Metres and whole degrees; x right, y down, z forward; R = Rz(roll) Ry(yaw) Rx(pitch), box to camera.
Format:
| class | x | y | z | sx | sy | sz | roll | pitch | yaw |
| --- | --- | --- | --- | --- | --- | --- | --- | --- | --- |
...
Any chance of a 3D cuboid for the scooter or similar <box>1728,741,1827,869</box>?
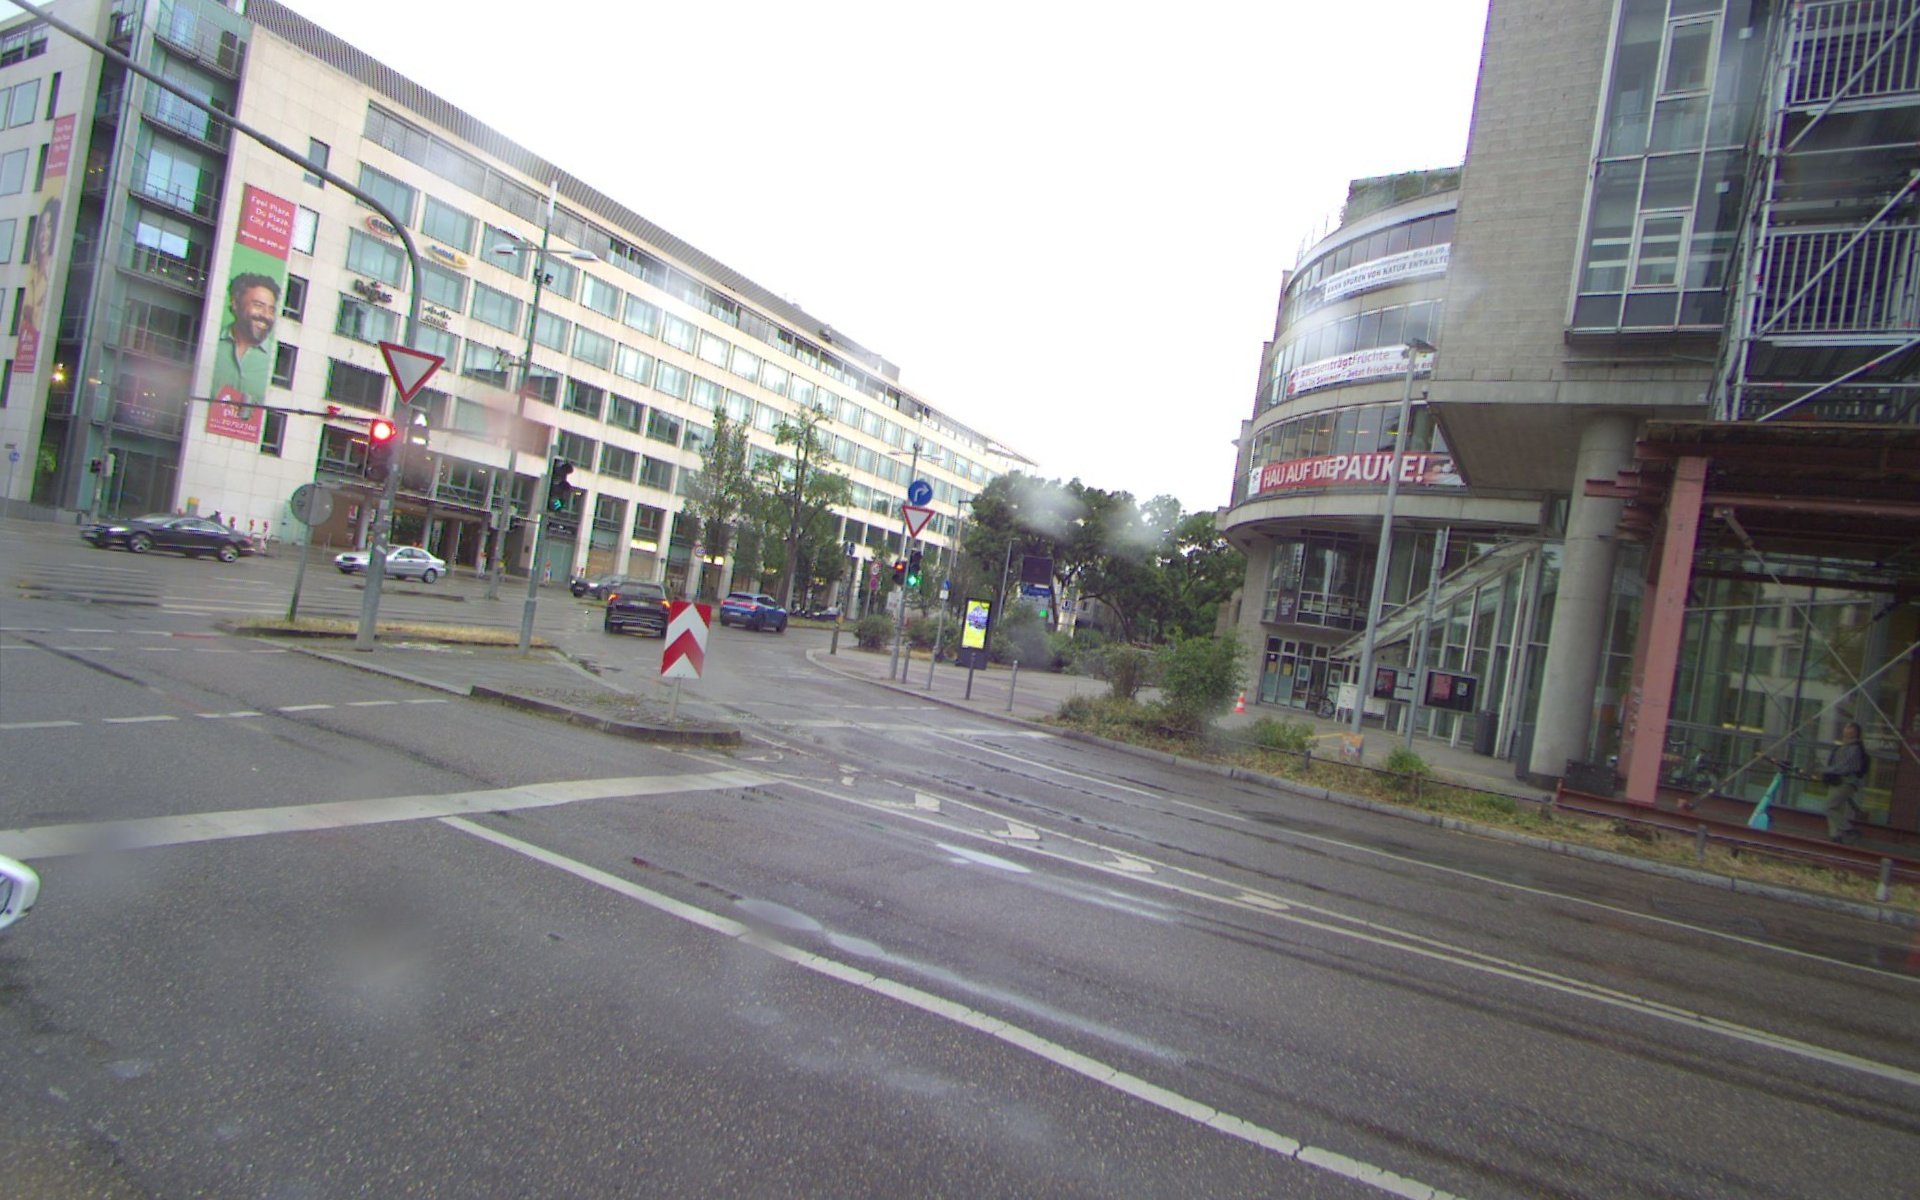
| class | x | y | z | sx | sy | sz | roll | pitch | yaw |
| --- | --- | --- | --- | --- | --- | --- | --- | --- | --- |
| scooter or similar | 9.232 | 2.268 | 11.413 | 0.577 | 1.208 | 1.780 | 7 | -1 | 34 |

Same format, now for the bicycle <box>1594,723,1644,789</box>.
| class | x | y | z | sx | sy | sz | roll | pitch | yaw |
| --- | --- | --- | --- | --- | --- | --- | --- | --- | --- |
| bicycle | 13.655 | 3.208 | 20.880 | 0.576 | 1.208 | 1.614 | 7 | -2 | 27 |

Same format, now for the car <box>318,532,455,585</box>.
| class | x | y | z | sx | sy | sz | roll | pitch | yaw |
| --- | --- | --- | --- | --- | --- | --- | --- | --- | --- |
| car | -23.590 | -1.669 | 41.623 | 1.962 | 1.494 | 4.737 | 7 | -1 | 17 |

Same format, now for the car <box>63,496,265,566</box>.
| class | x | y | z | sx | sy | sz | roll | pitch | yaw |
| --- | --- | --- | --- | --- | --- | --- | --- | --- | --- |
| car | -26.230 | -2.209 | 33.398 | 1.962 | 1.494 | 4.868 | 6 | -3 | 18 |

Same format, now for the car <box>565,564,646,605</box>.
| class | x | y | z | sx | sy | sz | roll | pitch | yaw |
| --- | --- | --- | --- | --- | --- | --- | --- | --- | --- |
| car | -19.412 | -0.816 | 55.280 | 1.797 | 1.627 | 4.494 | 7 | -2 | 16 |

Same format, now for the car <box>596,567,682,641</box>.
| class | x | y | z | sx | sy | sz | roll | pitch | yaw |
| --- | --- | --- | --- | --- | --- | --- | --- | --- | --- |
| car | -9.088 | 0.107 | 28.787 | 1.905 | 1.715 | 3.990 | 8 | -1 | -14 |

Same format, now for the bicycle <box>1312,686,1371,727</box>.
| class | x | y | z | sx | sy | sz | roll | pitch | yaw |
| --- | --- | --- | --- | --- | --- | --- | --- | --- | --- |
| bicycle | 13.465 | 3.747 | 35.526 | 1.753 | 1.208 | 0.586 | 6 | -1 | 29 |

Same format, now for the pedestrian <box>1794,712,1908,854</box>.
| class | x | y | z | sx | sy | sz | roll | pitch | yaw |
| --- | --- | --- | --- | --- | --- | --- | --- | --- | --- |
| pedestrian | 12.540 | 2.551 | 14.184 | 0.776 | 1.796 | 0.781 | 7 | -1 | 13 |

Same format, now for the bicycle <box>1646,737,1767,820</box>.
| class | x | y | z | sx | sy | sz | roll | pitch | yaw |
| --- | --- | --- | --- | --- | --- | --- | --- | --- | --- |
| bicycle | 13.496 | 3.224 | 18.224 | 1.584 | 1.208 | 0.587 | 7 | -1 | 6 |

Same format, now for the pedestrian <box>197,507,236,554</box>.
| class | x | y | z | sx | sy | sz | roll | pitch | yaw |
| --- | --- | --- | --- | --- | --- | --- | --- | --- | --- |
| pedestrian | -31.952 | -2.981 | 43.236 | 0.822 | 1.838 | 0.963 | 6 | -1 | 31 |
